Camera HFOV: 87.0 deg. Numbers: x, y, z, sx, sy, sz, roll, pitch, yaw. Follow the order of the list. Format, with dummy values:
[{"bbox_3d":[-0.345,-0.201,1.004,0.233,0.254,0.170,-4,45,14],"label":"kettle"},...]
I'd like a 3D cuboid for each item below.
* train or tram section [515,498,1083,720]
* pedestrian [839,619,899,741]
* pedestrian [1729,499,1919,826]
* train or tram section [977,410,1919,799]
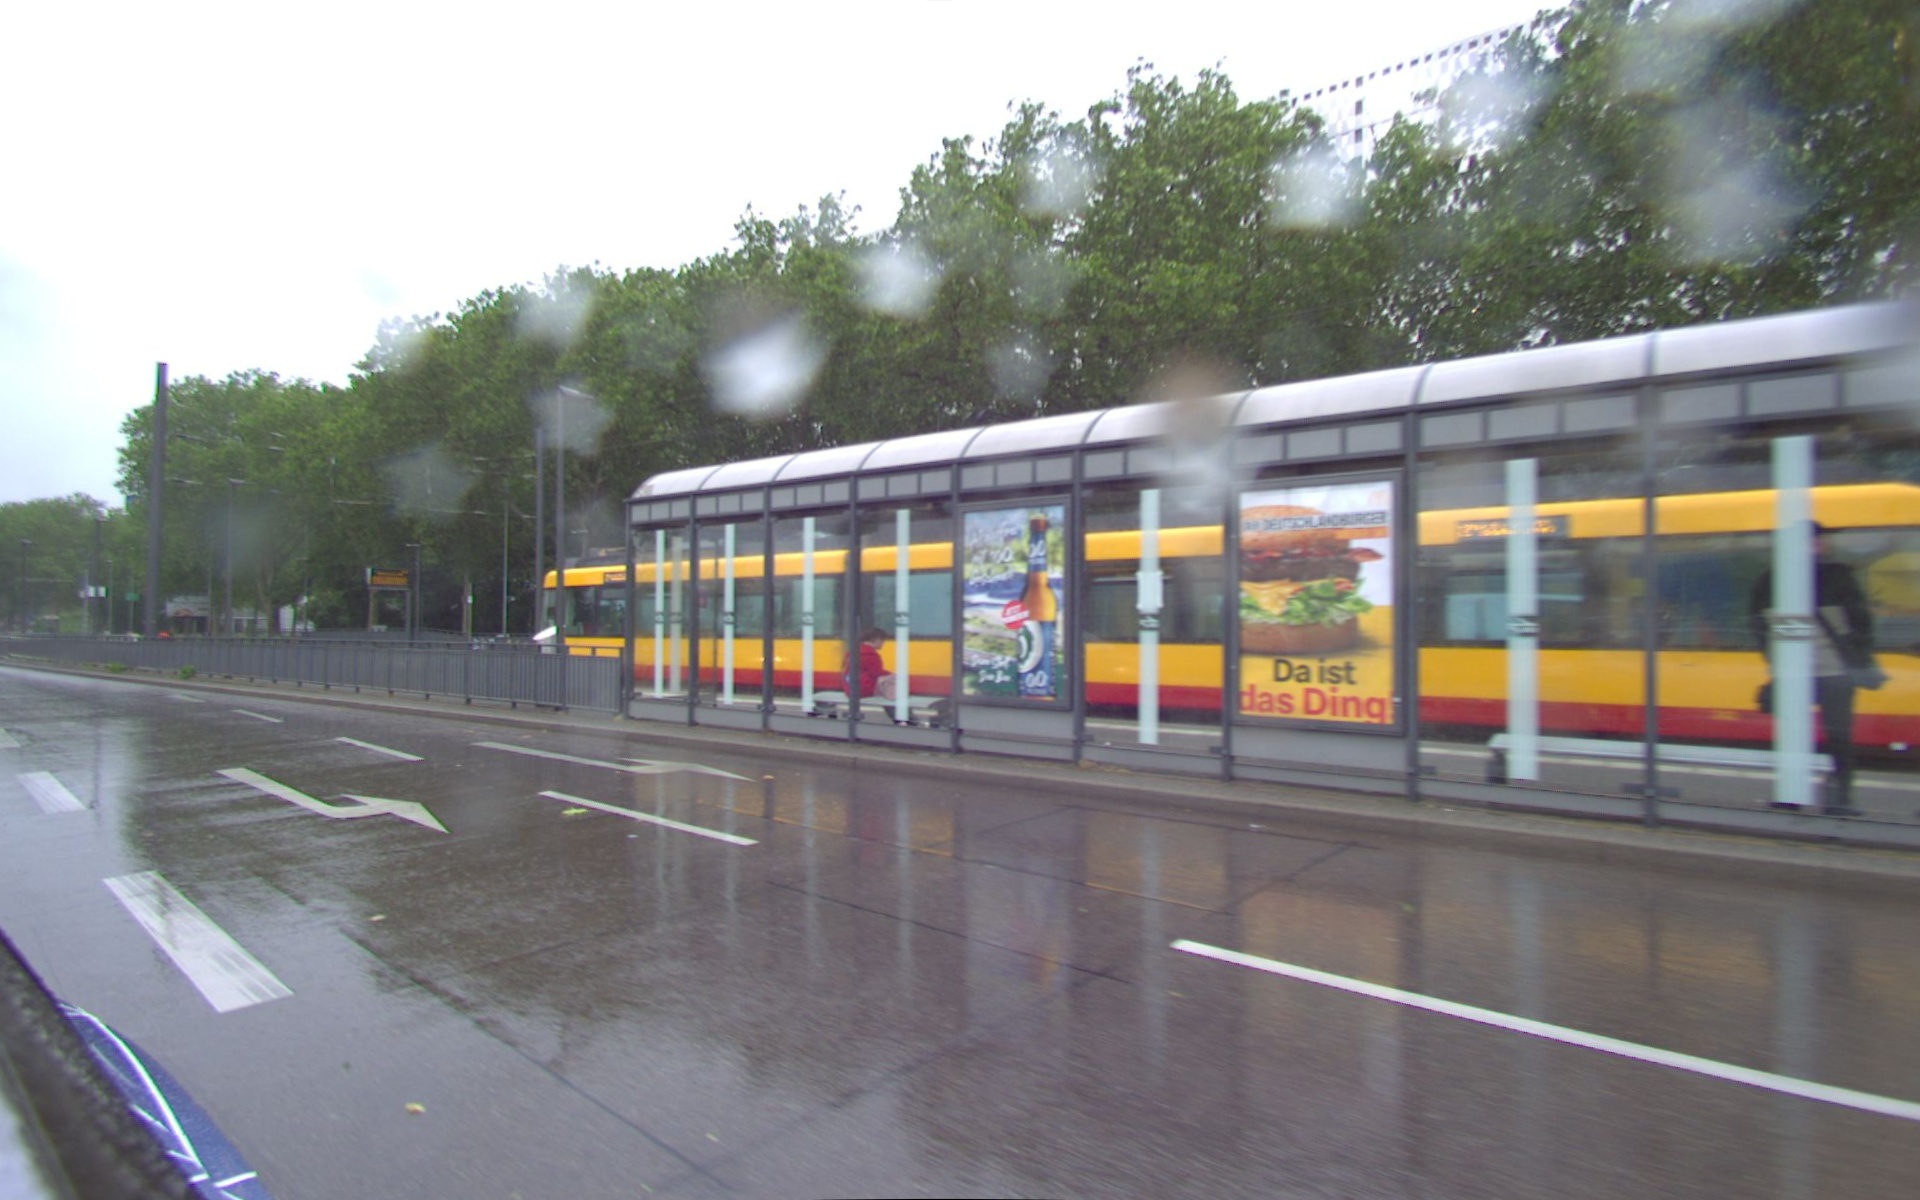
[{"bbox_3d":[-4.744,0.207,23.779,15.553,3.827,3.705,-1,0,39],"label":"train or tram section"},{"bbox_3d":[-0.974,0.836,10.785,0.451,1.245,0.467,0,0,-37],"label":"pedestrian"},{"bbox_3d":[5.412,0.358,6.338,0.646,1.885,0.774,-1,0,-35],"label":"pedestrian"},{"bbox_3d":[6.613,0.075,14.765,13.239,3.868,3.705,-1,0,39],"label":"train or tram section"}]
